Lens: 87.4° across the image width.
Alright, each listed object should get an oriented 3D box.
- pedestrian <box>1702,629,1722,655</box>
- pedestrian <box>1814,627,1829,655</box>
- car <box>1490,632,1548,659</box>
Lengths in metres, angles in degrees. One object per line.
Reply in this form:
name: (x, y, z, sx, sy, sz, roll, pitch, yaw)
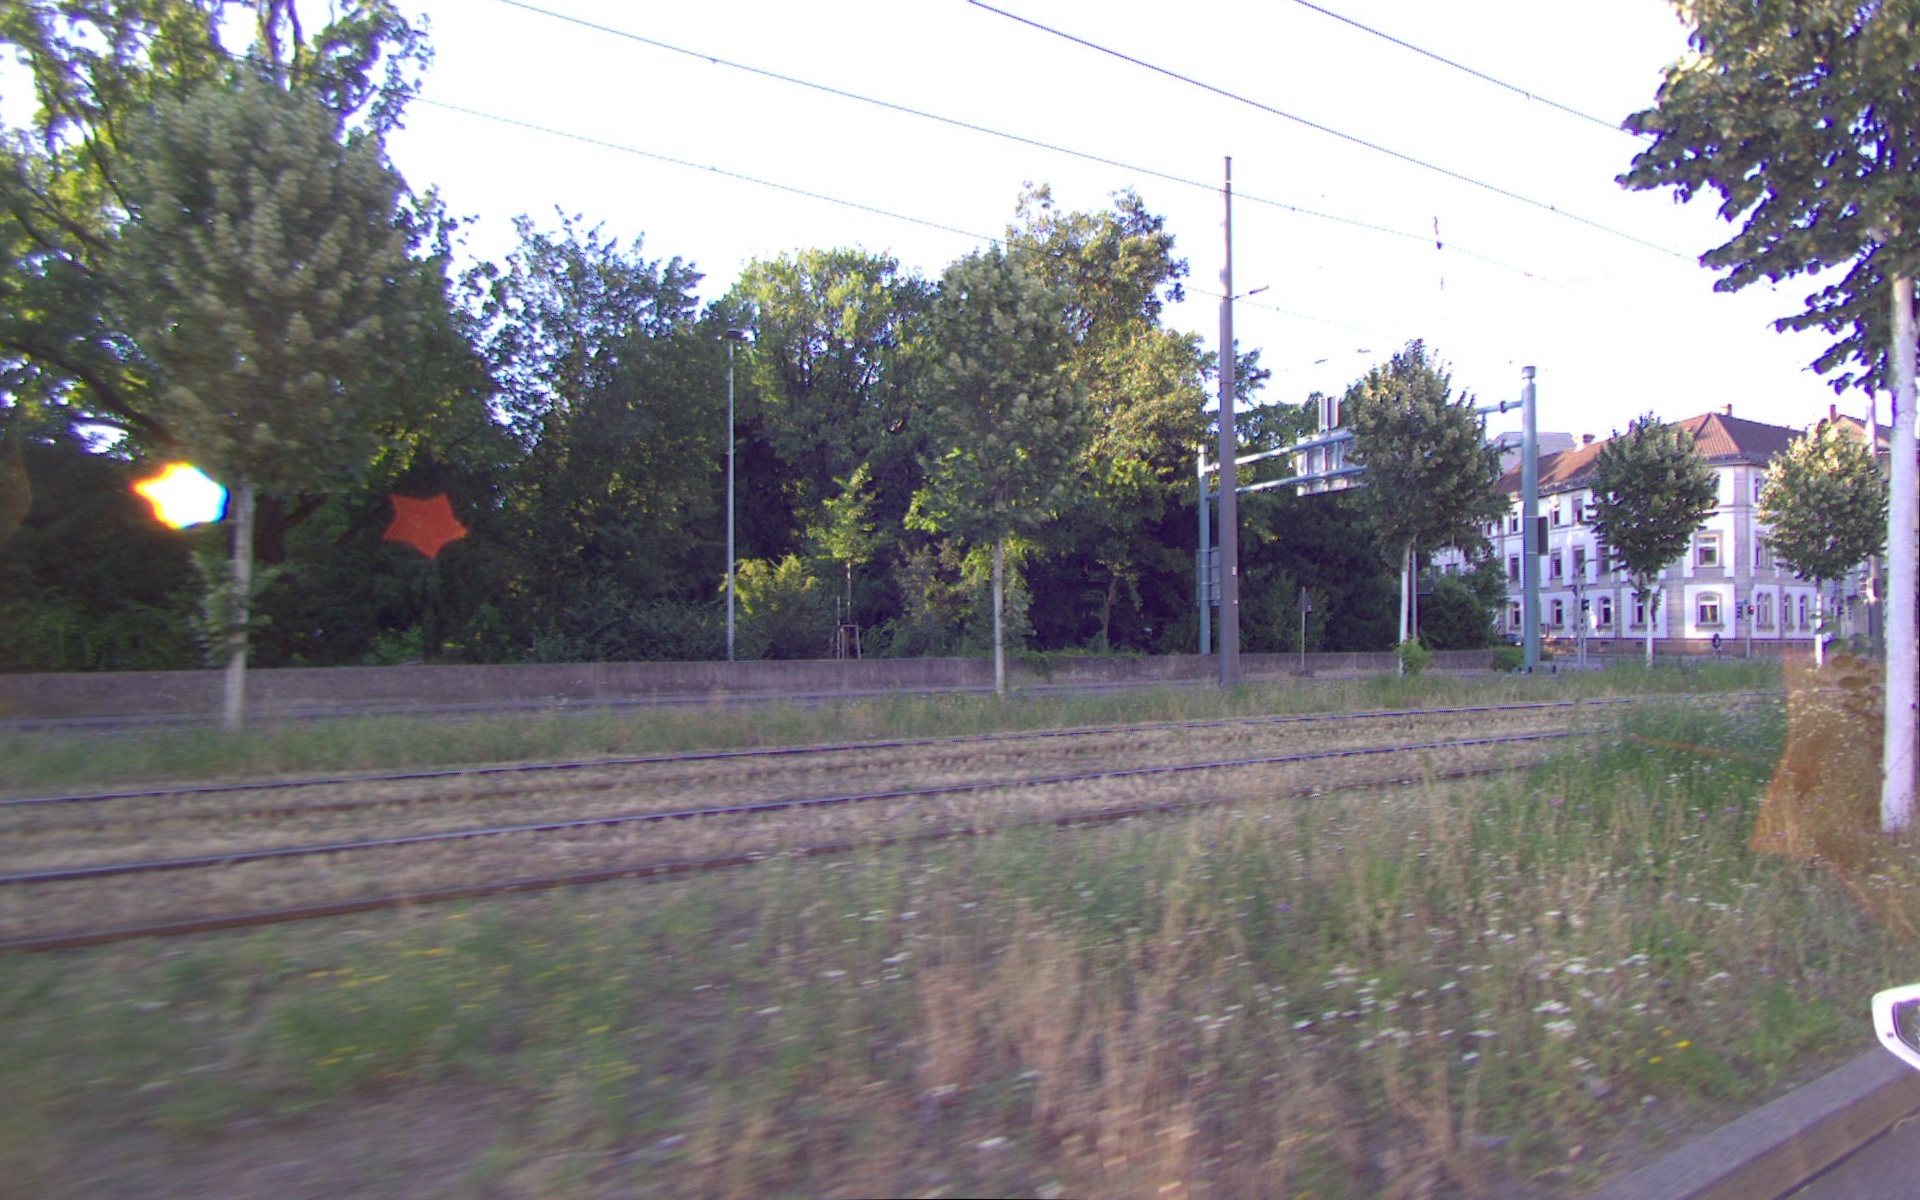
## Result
pedestrian: (43.154, 2.406, 57.629, 0.924, 1.478, 0.601, 1, 1, -28)
pedestrian: (55.681, 2.626, 64.916, 0.694, 1.739, 0.808, 1, 1, 42)
car: (37.961, 3.082, 68.308, 1.754, 1.576, 4.000, 1, 0, 1)
